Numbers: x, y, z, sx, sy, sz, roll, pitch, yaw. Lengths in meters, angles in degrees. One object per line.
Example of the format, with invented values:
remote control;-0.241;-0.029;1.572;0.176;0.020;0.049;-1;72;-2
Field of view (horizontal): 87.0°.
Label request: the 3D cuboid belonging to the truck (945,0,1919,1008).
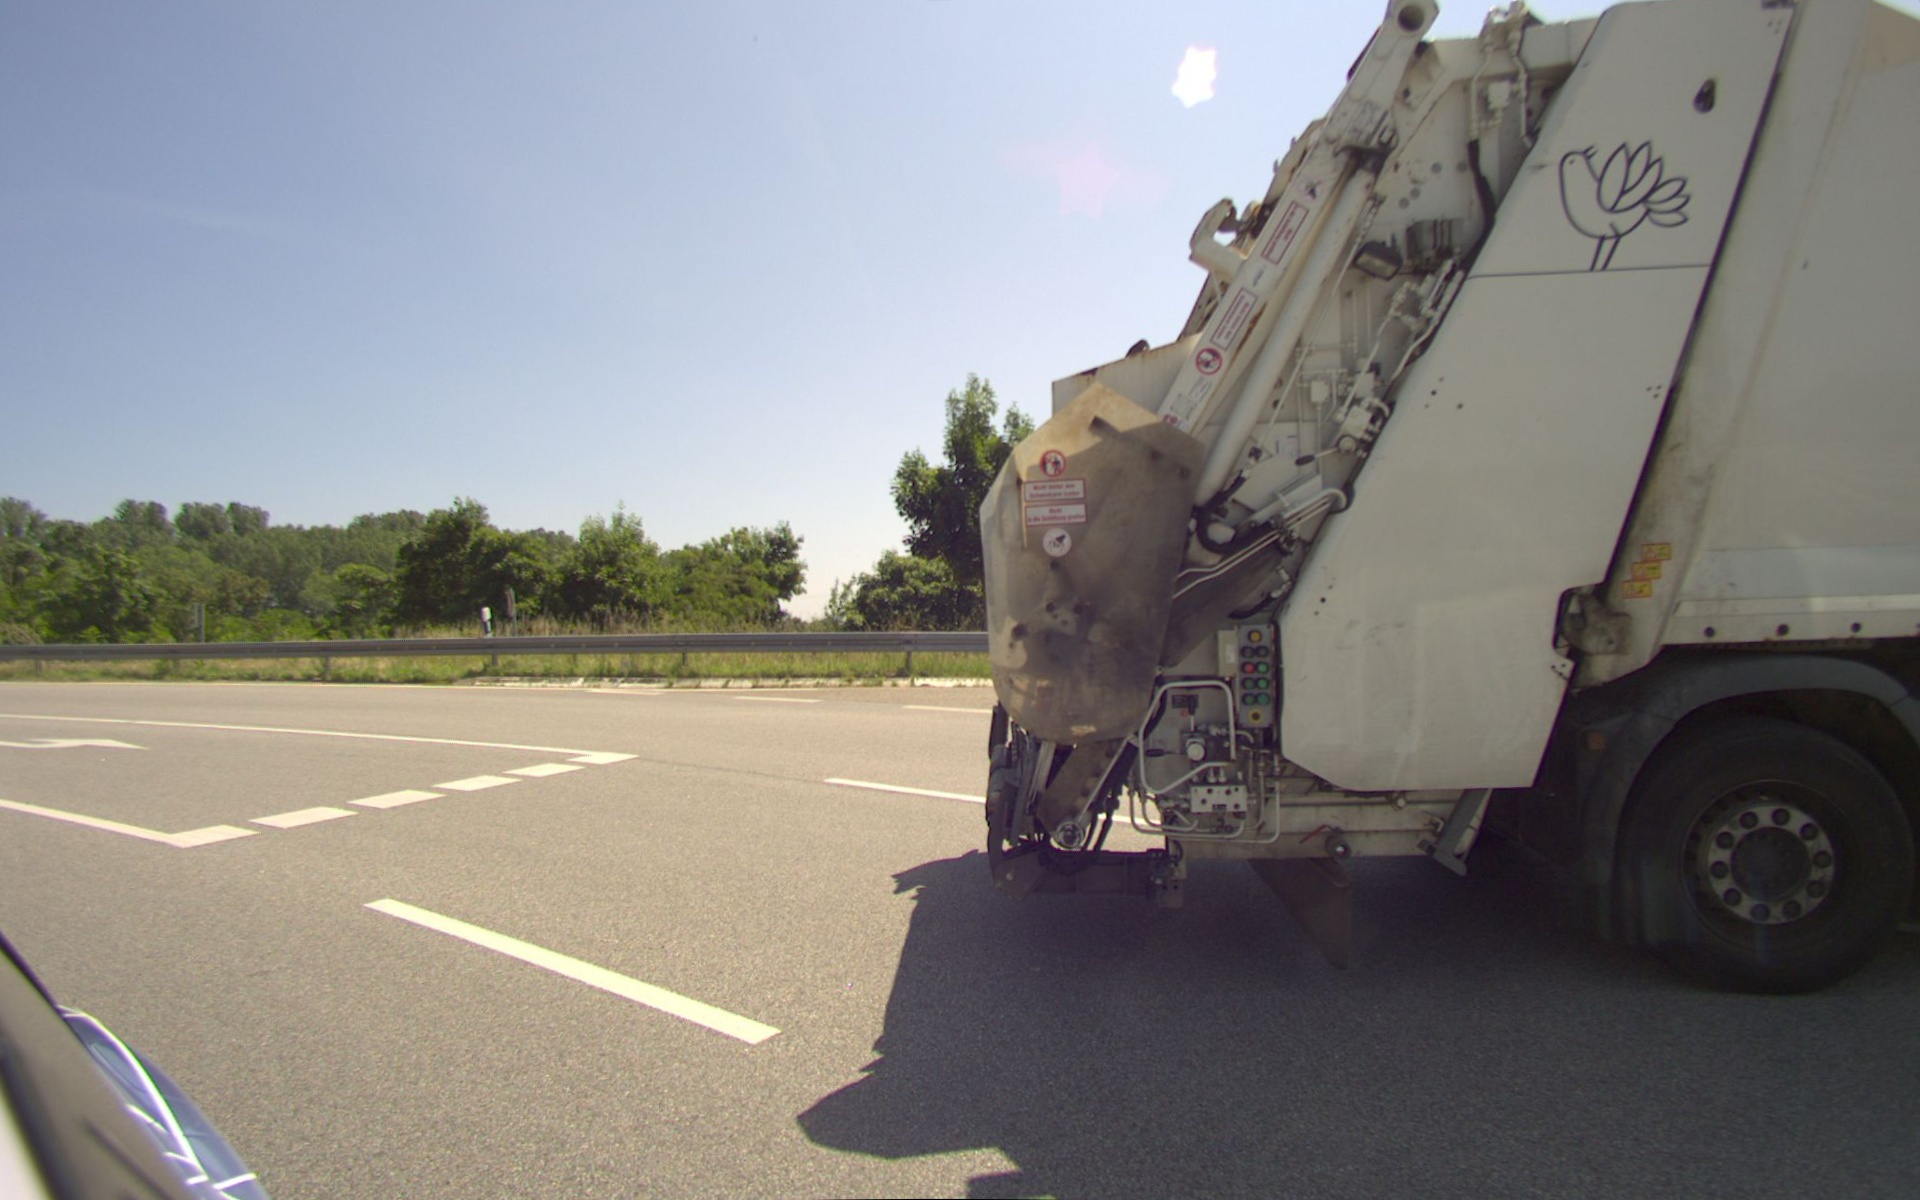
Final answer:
truck;4.958;-0.635;4.475;9.818;3.696;2.819;-2;1;4
